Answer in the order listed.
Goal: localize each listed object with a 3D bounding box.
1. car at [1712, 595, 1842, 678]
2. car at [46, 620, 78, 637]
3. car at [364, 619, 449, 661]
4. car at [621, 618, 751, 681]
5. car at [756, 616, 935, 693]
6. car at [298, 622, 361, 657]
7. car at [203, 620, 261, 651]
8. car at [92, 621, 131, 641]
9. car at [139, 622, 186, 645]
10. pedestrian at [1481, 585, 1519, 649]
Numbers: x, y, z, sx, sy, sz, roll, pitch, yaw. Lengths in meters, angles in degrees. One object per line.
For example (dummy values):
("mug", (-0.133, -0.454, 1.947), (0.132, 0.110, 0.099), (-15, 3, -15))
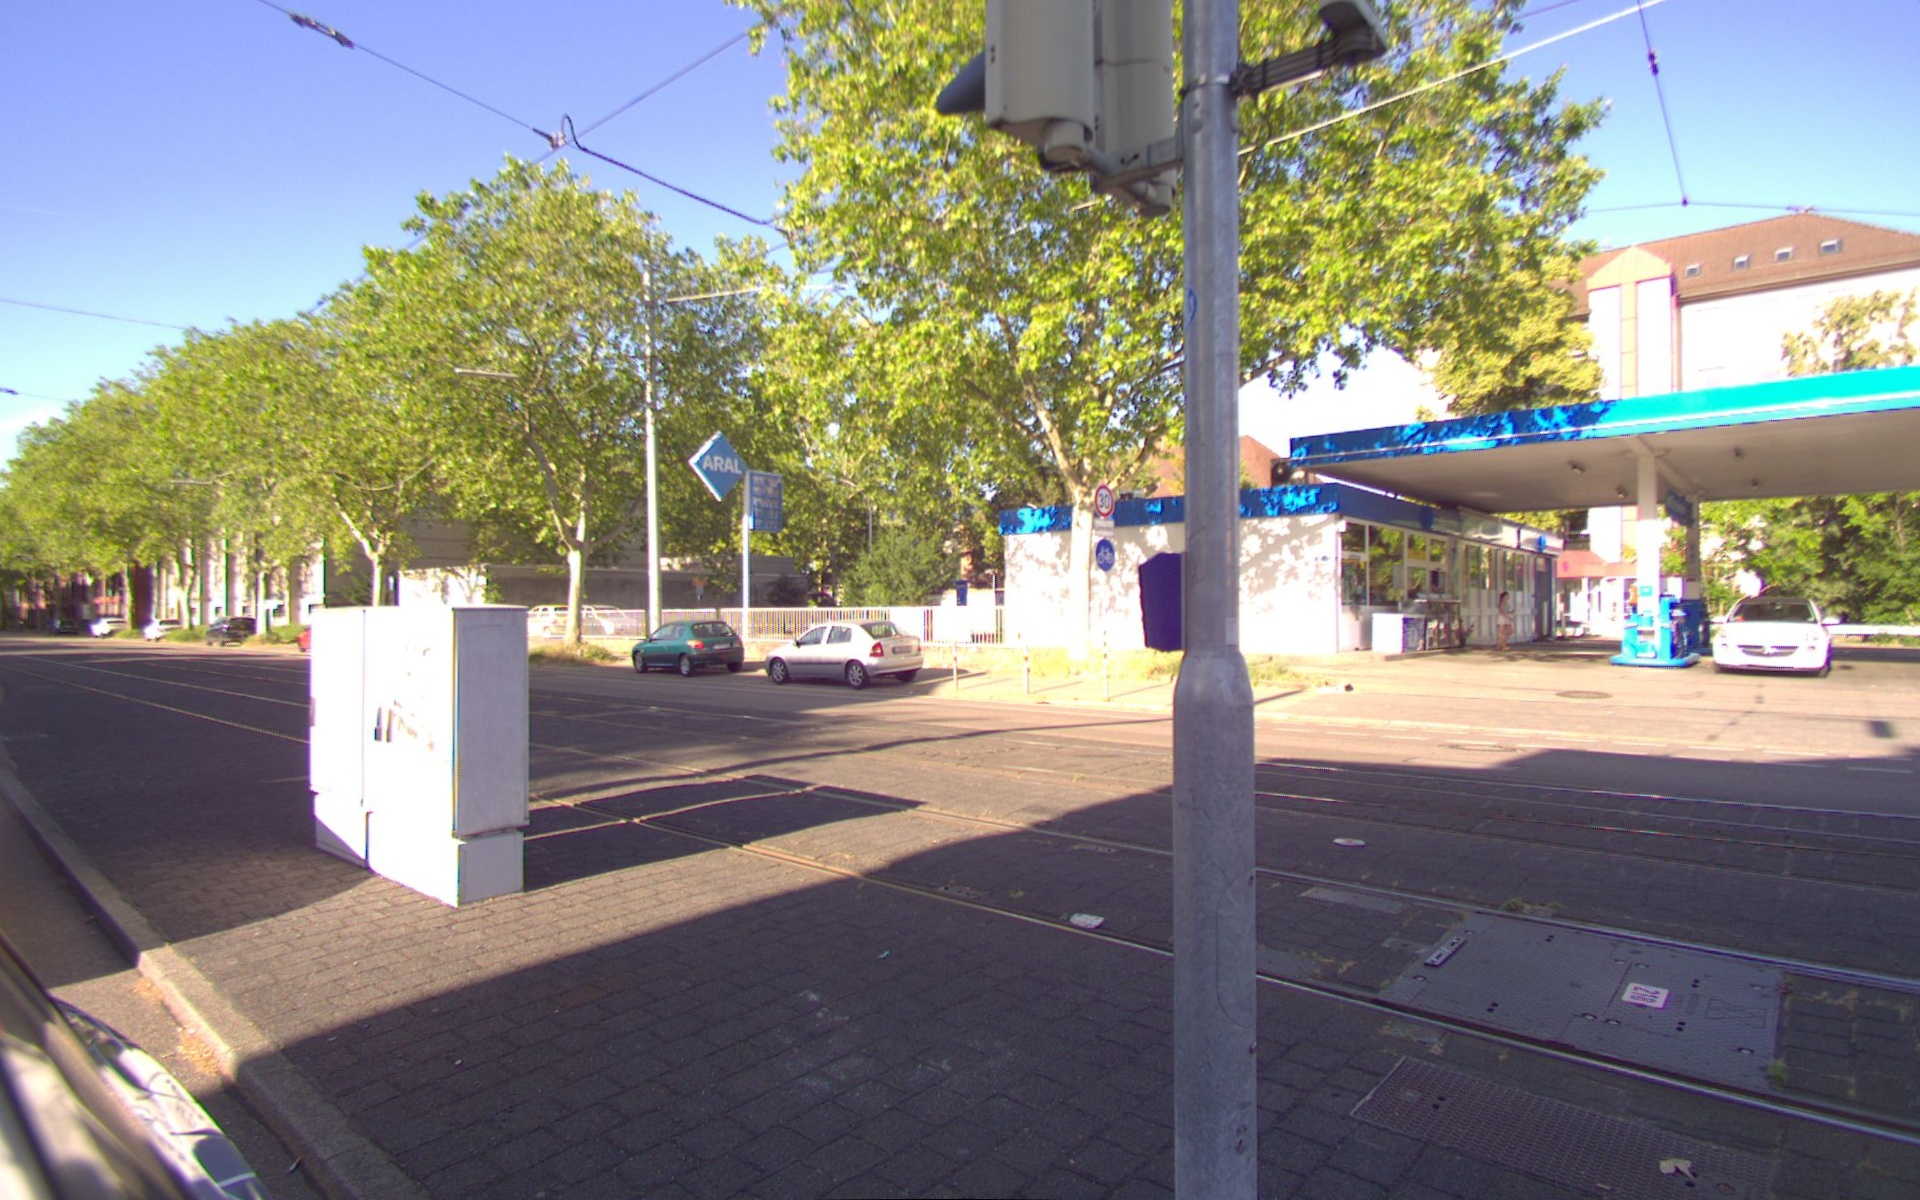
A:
("car", (16.029, 0.671, 19.911), (1.812, 1.453, 3.947), (-1, -1, 39))
("car", (-85.322, 2.720, 96.121), (3.998, 1.525, 1.779), (-1, -1, 41))
("car", (-21.939, 1.544, 40.055), (3.652, 1.541, 1.802), (-1, -1, 41))
("car", (-7.326, 1.271, 26.935), (3.519, 1.475, 1.670), (-1, 2, 43))
("car", (-2.628, 1.154, 22.666), (3.965, 1.475, 1.771), (-1, 2, 43))
("car", (-28.553, 1.744, 45.803), (3.045, 1.519, 1.620), (-1, -1, 41))
("car", (-40.752, 1.945, 56.594), (3.998, 1.674, 1.779), (-1, -1, 41))
("car", (-66.682, 2.391, 79.533), (3.998, 1.525, 1.779), (-1, -1, 41))
("car", (-53.718, 2.257, 68.167), (3.998, 1.509, 1.779), (-1, -1, 41))
("pedestrian", (14.619, 0.462, 27.405), (0.761, 1.705, 0.578), (-2, -2, 44))
